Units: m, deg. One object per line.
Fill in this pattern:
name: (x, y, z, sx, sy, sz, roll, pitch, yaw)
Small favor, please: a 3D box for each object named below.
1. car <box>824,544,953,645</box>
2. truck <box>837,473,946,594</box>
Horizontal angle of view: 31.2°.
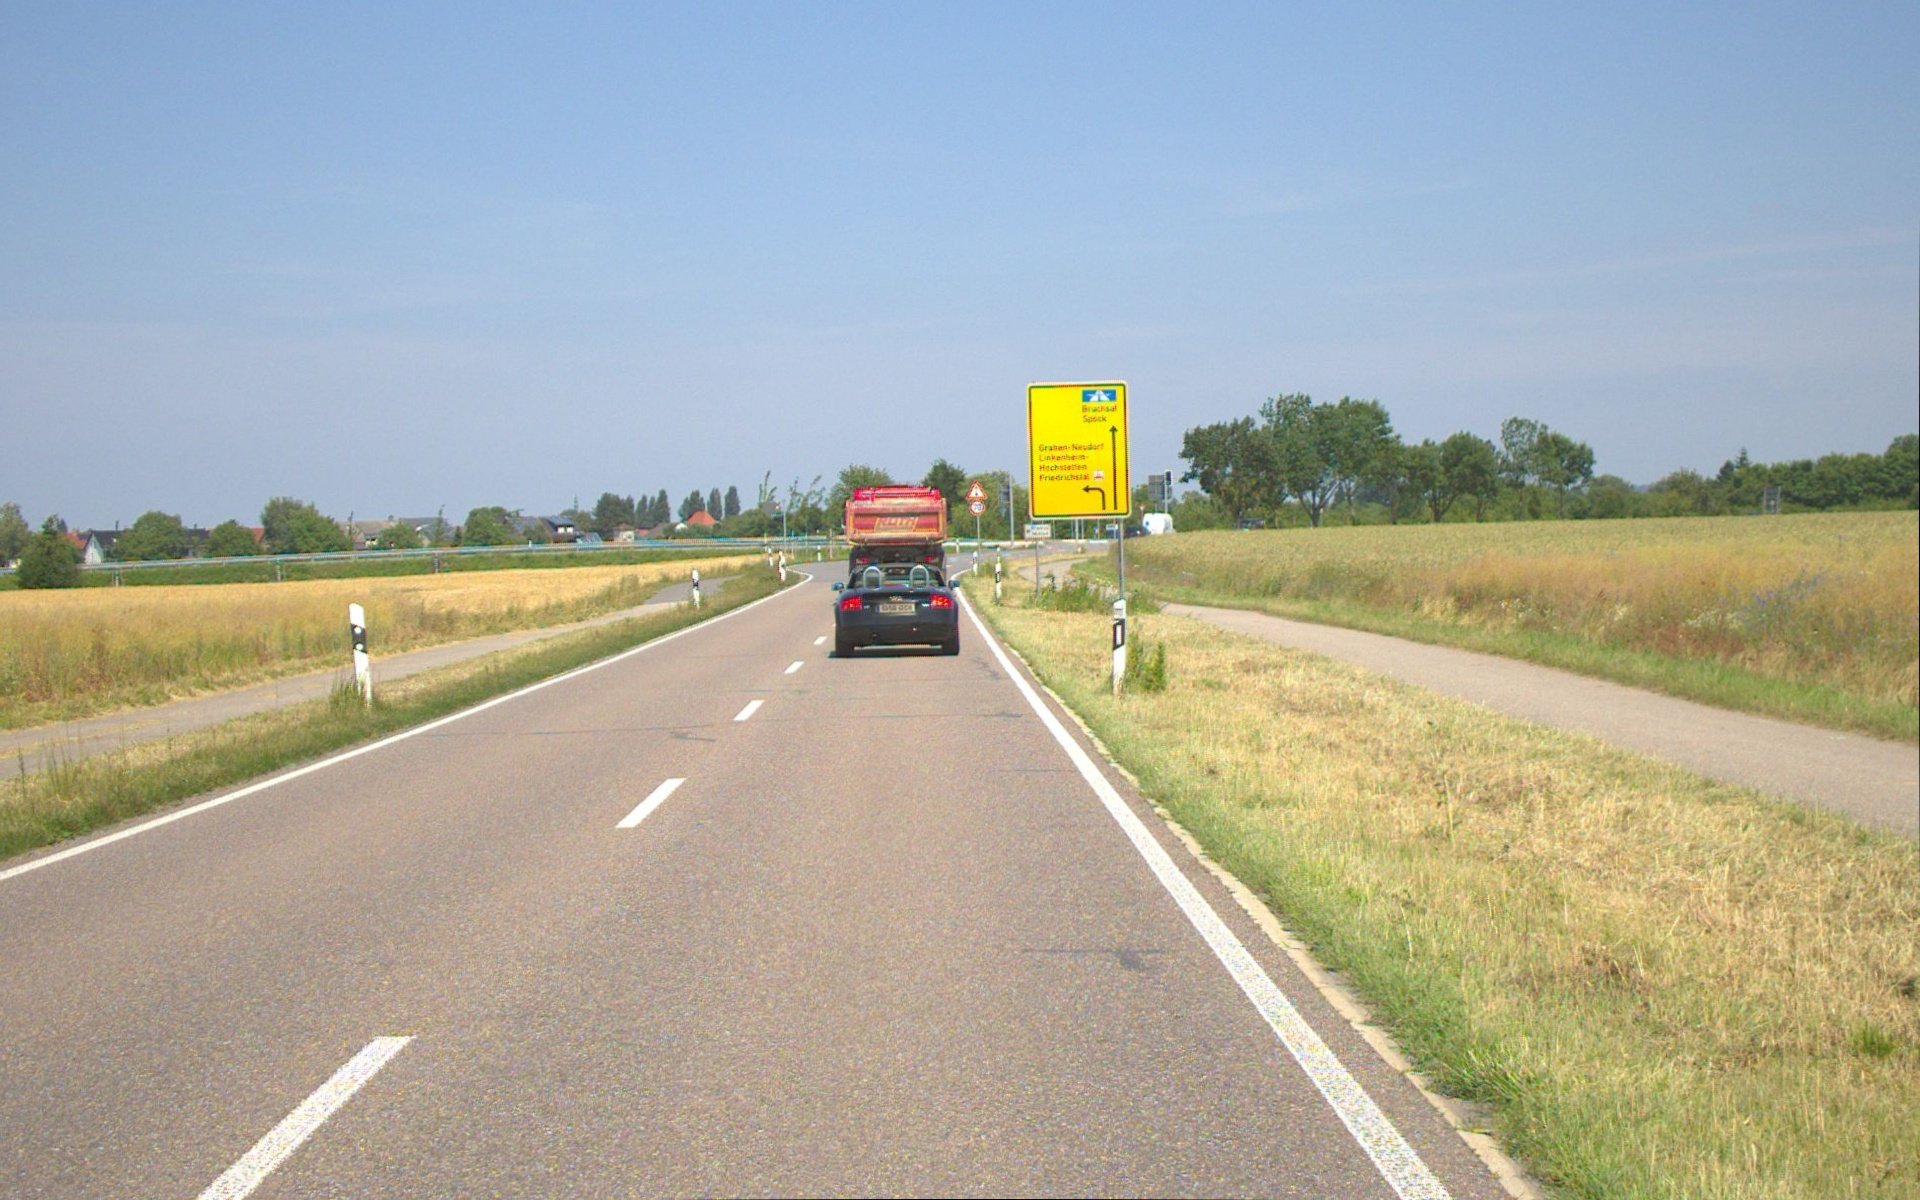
car: (-0.998, -0.094, 48.899, 1.747, 1.371, 3.679, 0, 0, -1)
truck: (-1.786, -1.713, 90.796, 2.714, 3.042, 8.165, -1, 0, -1)
